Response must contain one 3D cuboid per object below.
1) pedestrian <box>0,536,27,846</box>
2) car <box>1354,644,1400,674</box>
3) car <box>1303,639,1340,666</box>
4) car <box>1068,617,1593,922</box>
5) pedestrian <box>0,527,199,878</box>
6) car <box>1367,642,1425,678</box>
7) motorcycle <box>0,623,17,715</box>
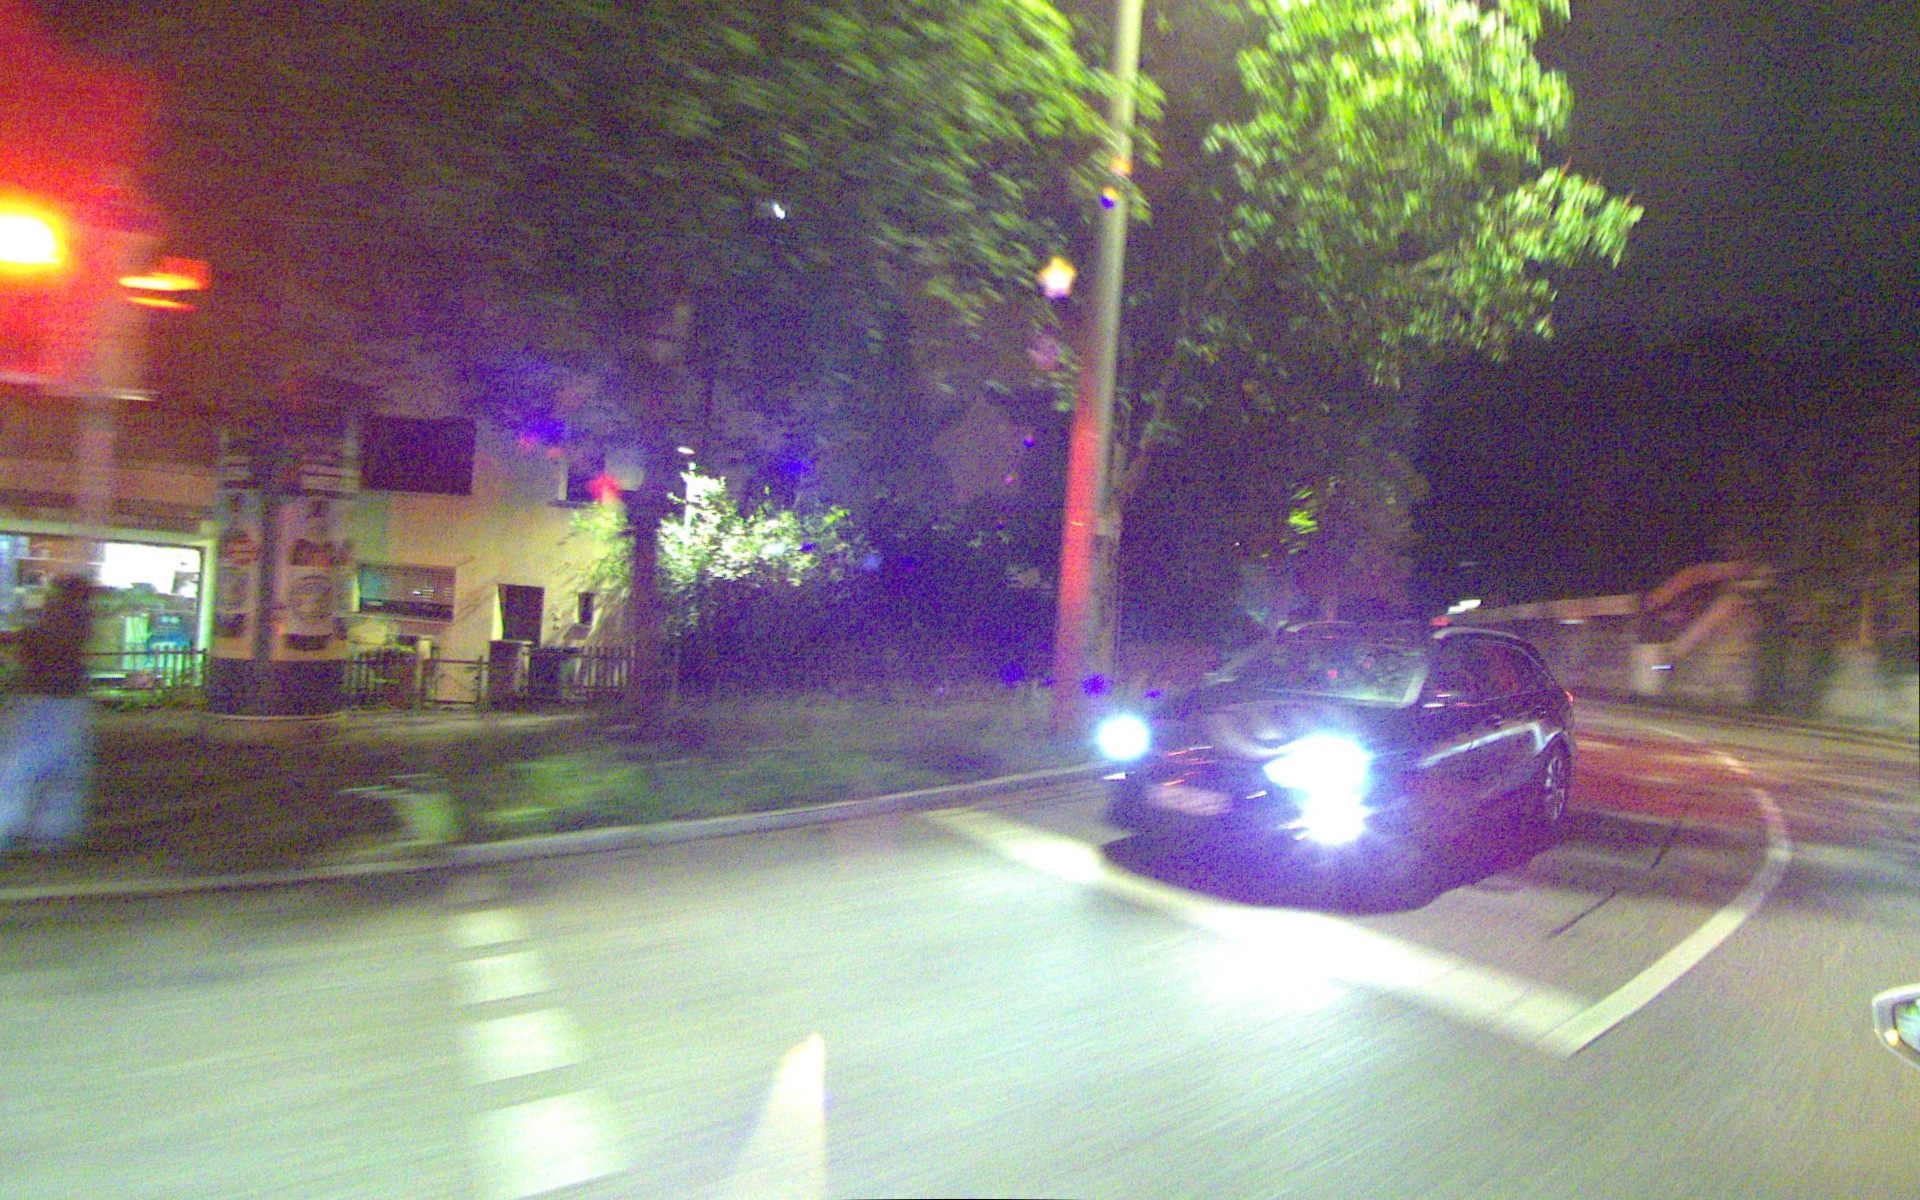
[{"bbox_3d":[-5.921,0.529,5.724,0.681,1.816,0.522,1,-1,-16],"label":"pedestrian"},{"bbox_3d":[23.915,3.365,57.698,1.581,1.480,3.719,3,0,10],"label":"car"},{"bbox_3d":[26.825,3.901,74.733,1.690,1.783,4.762,6,-2,11],"label":"car"},{"bbox_3d":[2.796,0.901,6.976,4.260,1.448,1.709,3,-1,-44],"label":"car"},{"bbox_3d":[-4.885,0.532,5.563,0.954,1.793,0.723,1,-1,-31],"label":"pedestrian"},{"bbox_3d":[23.055,3.138,53.273,1.725,1.614,4.732,6,-1,11],"label":"car"},{"bbox_3d":[-14.138,0.918,13.814,1.999,1.245,0.619,1,-1,11],"label":"motorcycle"}]
